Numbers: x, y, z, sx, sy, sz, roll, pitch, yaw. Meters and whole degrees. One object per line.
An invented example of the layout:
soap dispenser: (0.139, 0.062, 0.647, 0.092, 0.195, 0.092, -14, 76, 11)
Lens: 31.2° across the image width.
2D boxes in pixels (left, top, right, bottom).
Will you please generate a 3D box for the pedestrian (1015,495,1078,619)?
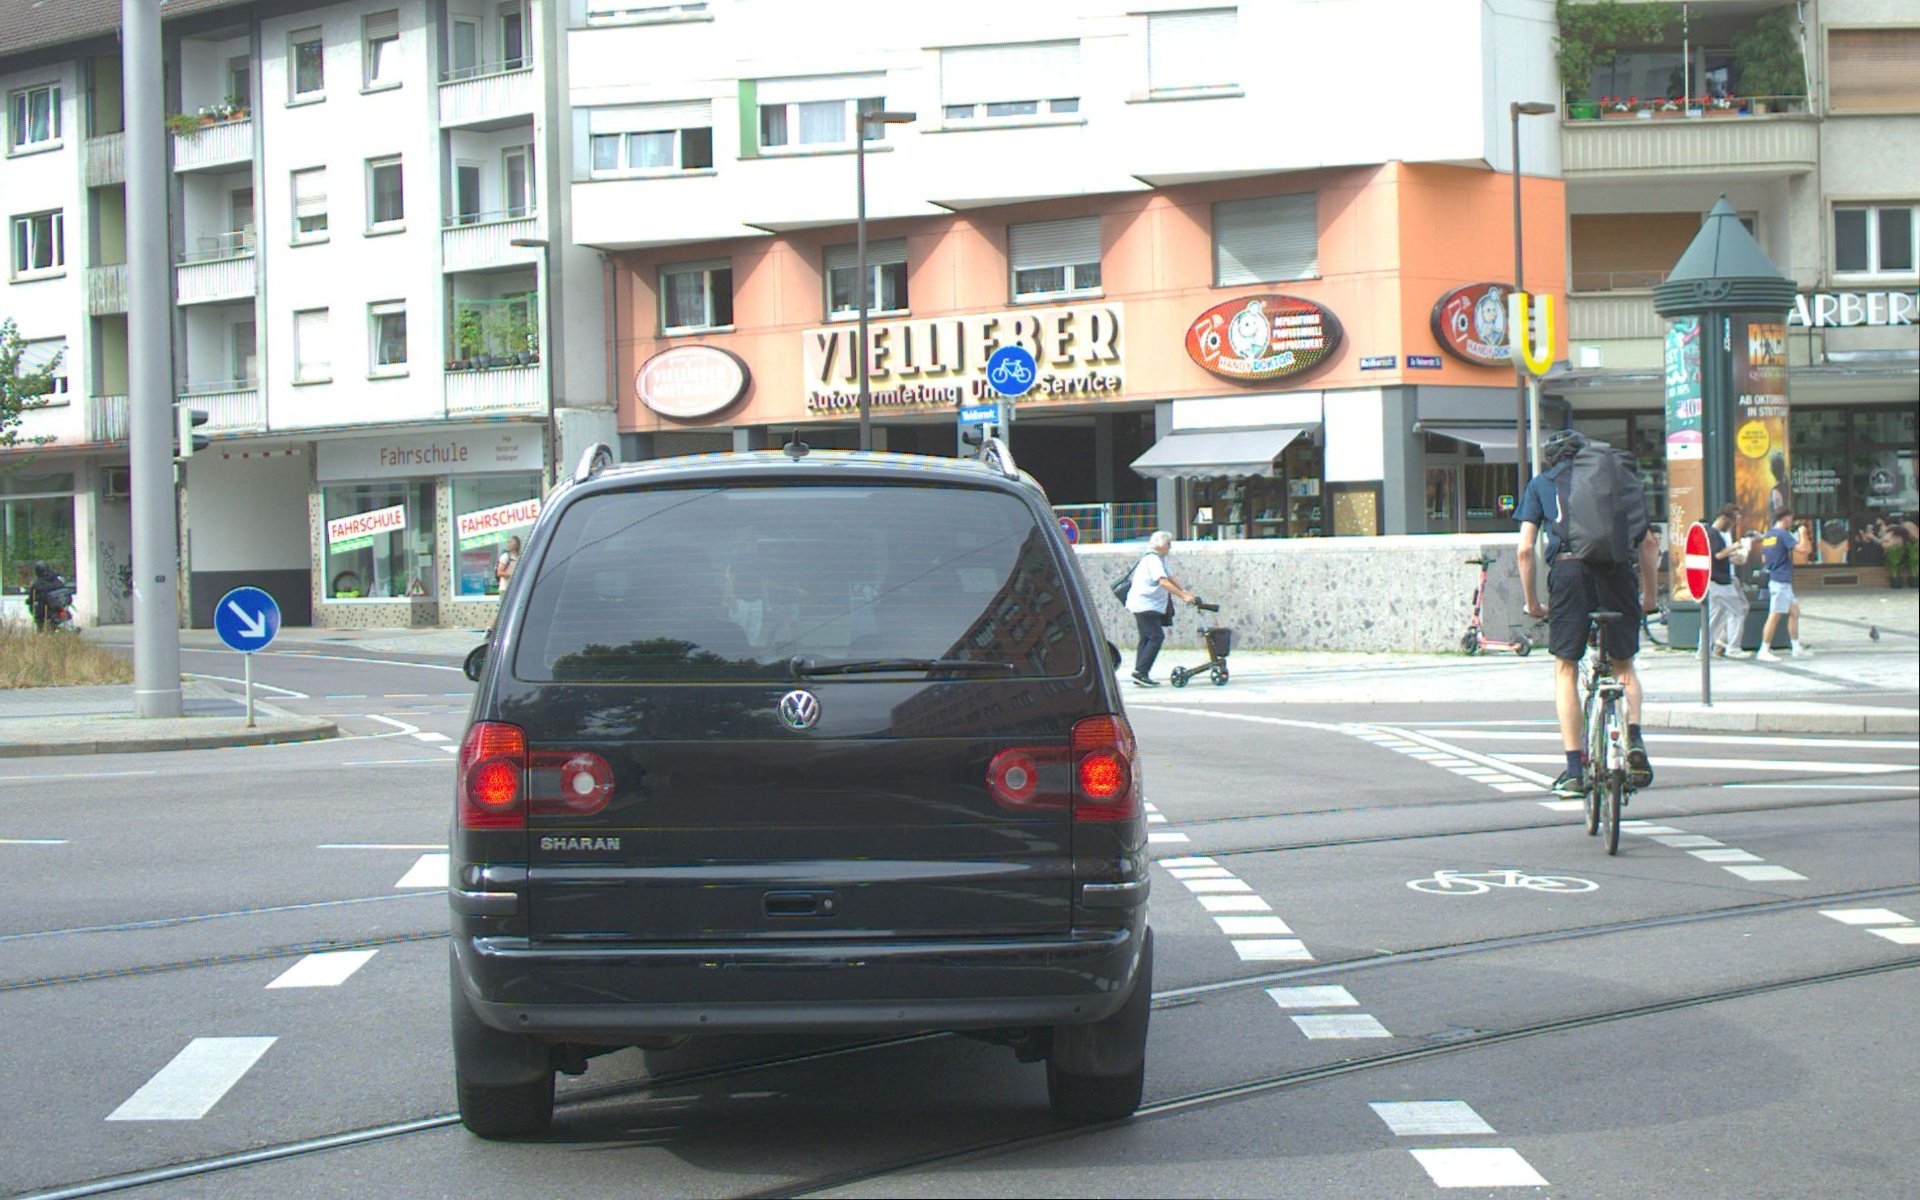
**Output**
pedestrian: (1.361, -0.677, 54.047, 0.672, 1.896, 0.589, -6, 4, -45)

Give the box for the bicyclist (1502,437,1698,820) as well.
bicyclist: (2.943, 0.120, 15.879, 0.697, 1.703, 0.908, -1, 1, 0)

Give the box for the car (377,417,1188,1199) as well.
car: (-0.502, 0.451, 9.721, 1.812, 1.760, 3.738, -1, 1, -3)

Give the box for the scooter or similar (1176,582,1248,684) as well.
scooter or similar: (2.839, 0.371, 38.690, 0.700, 1.106, 0.608, -2, 1, 12)

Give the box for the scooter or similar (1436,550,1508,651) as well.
scooter or similar: (6.248, 0.005, 42.003, 0.285, 1.208, 1.126, -1, 1, -24)

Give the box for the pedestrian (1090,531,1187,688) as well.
pedestrian: (2.026, 0.104, 38.853, 0.935, 1.734, 0.685, -2, 1, 13)

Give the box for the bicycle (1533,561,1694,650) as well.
bicycle: (8.049, 0.054, 42.247, 2.442, 1.010, 0.544, -2, 1, -42)

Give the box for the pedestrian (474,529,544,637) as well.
pedestrian: (-7.941, -0.297, 60.571, 0.657, 1.845, 0.971, -6, 3, -42)

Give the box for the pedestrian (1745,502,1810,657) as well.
pedestrian: (9.252, -0.237, 38.919, 0.593, 1.731, 0.415, -1, 1, -1)

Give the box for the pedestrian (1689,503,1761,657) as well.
pedestrian: (8.766, -0.231, 39.405, 0.699, 1.731, 0.415, -1, 1, -1)

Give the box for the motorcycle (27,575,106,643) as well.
motorcycle: (-15.378, 0.148, 59.234, 0.919, 1.101, 2.691, -1, 1, -6)

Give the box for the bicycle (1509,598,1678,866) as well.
bicycle: (2.890, 0.571, 15.811, 0.390, 1.118, 1.920, -1, 1, 0)

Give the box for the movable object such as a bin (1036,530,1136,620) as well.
movable object such as a bin: (2.169, -0.424, 59.092, 1.196, 1.510, 1.194, -1, 1, 43)

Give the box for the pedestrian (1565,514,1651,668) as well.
pedestrian: (7.170, -0.101, 38.080, 0.803, 1.674, 0.627, -1, 1, 1)

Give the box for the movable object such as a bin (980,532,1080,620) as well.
movable object such as a bin: (1.183, -0.411, 58.184, 1.223, 1.455, 1.146, 0, 1, 43)

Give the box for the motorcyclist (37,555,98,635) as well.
motorcyclist: (-15.375, -0.089, 59.237, 0.902, 1.336, 0.713, -1, 1, -7)
